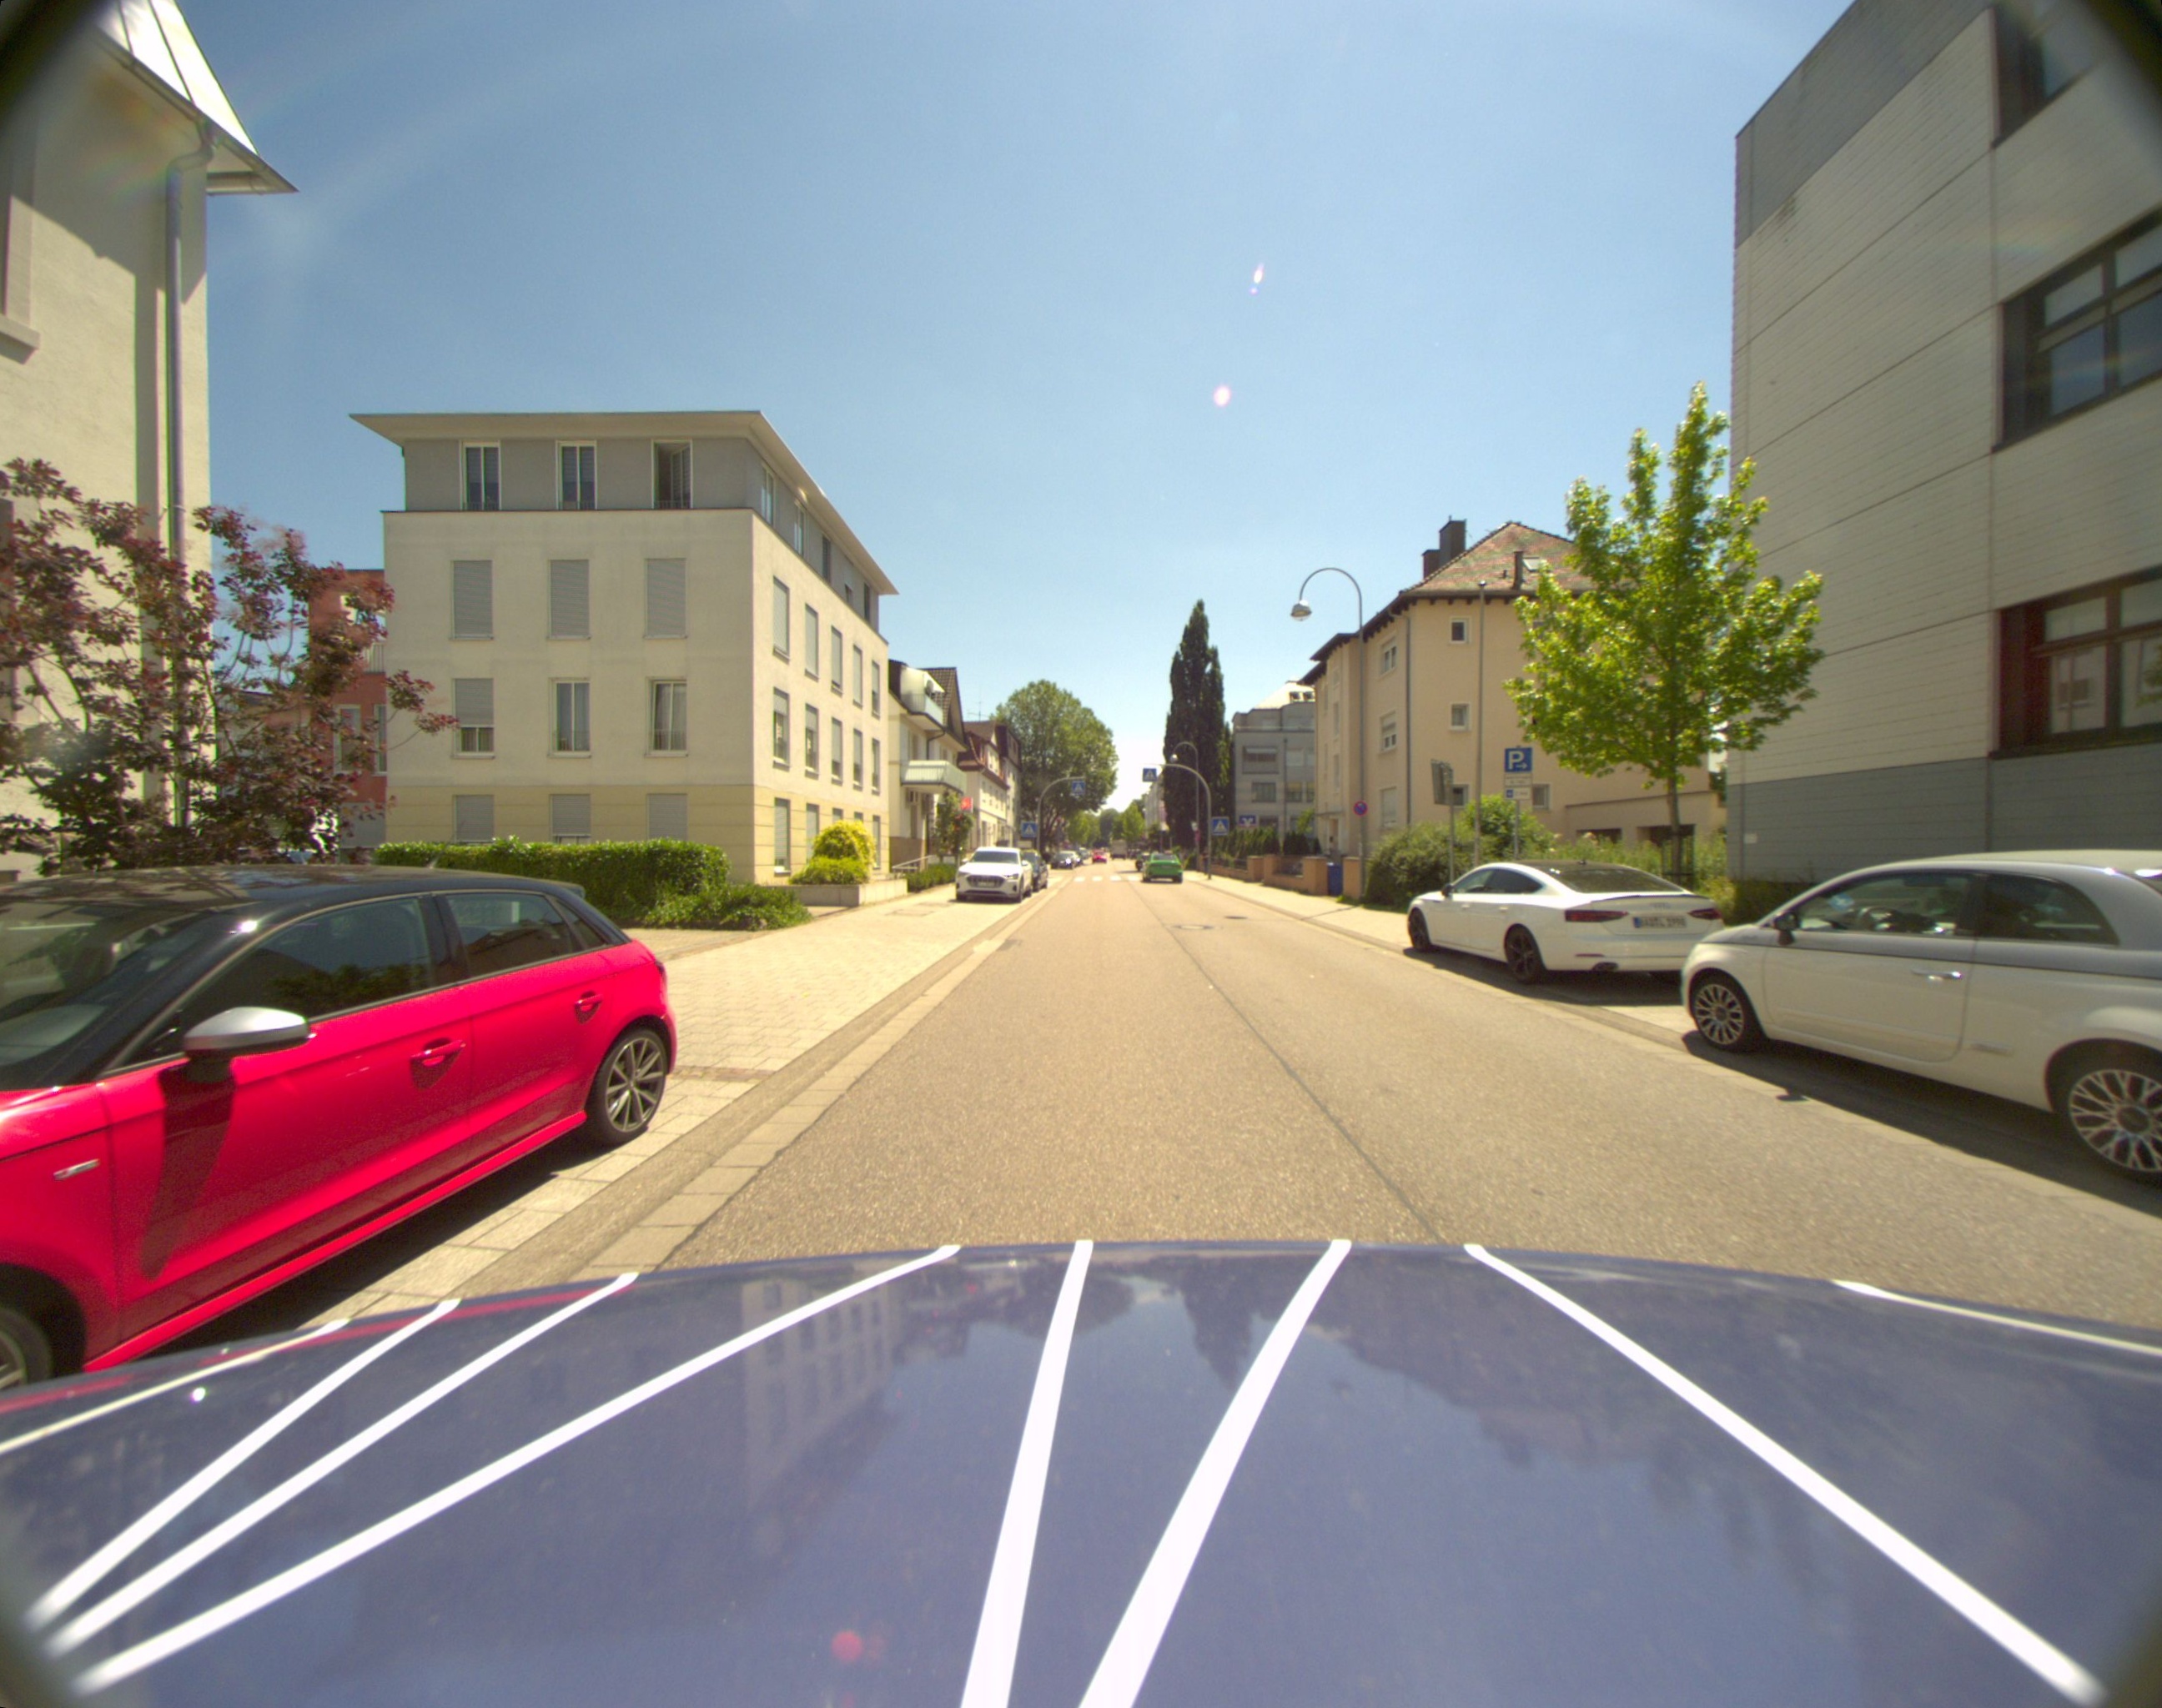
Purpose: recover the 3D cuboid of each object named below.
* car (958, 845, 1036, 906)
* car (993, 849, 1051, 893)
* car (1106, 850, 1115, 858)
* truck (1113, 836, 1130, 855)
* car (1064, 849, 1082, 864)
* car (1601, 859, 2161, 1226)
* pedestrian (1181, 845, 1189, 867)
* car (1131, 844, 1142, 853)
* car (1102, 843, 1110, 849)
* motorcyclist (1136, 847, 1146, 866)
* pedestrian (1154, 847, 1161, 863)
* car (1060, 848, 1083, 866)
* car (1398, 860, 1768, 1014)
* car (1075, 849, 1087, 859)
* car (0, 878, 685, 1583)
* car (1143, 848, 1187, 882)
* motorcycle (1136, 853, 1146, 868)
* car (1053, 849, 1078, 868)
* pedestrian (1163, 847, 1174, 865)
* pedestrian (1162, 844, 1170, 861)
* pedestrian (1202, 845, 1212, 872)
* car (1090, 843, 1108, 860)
[{"bbox_3d":[-2.536,0.582,23.900,1.709,1.656,4.580,2,1,2],"label":"car"},{"bbox_3d":[-2.237,0.609,30.130,1.709,1.547,4.748,2,1,2],"label":"car"},{"bbox_3d":[5.840,-0.031,151.929,1.834,1.502,4.262,-1,0,2],"label":"car"},{"bbox_3d":[6.366,-1.334,118.612,2.425,2.966,6.259,0,1,4],"label":"truck"},{"bbox_3d":[-0.739,0.212,74.515,1.561,1.333,4.173,1,1,1],"label":"car"},{"bbox_3d":[5.678,0.840,4.894,1.826,1.503,4.289,-1,1,2],"label":"car"},{"bbox_3d":[7.989,0.130,58.457,0.538,1.675,0.708,-1,1,2],"label":"pedestrian"},{"bbox_3d":[10.251,-0.985,140.944,1.731,1.661,4.294,-1,1,1],"label":"car"},{"bbox_3d":[6.254,-2.003,188.762,1.731,1.500,4.292,-1,3,0],"label":"car"},{"bbox_3d":[4.531,0.169,57.505,0.700,1.425,0.707,0,1,2],"label":"motorcyclist"},{"bbox_3d":[8.097,0.095,80.142,0.622,1.667,0.903,-3,1,1],"label":"pedestrian"},{"bbox_3d":[-0.832,0.256,68.367,1.748,1.460,4.851,2,1,2],"label":"car"},{"bbox_3d":[5.880,0.838,9.745,1.826,1.403,4.577,-1,1,2],"label":"car"},{"bbox_3d":[-0.019,-0.022,119.313,1.818,1.379,4.115,-1,0,1],"label":"car"},{"bbox_3d":[-3.193,0.903,2.465,1.607,1.432,3.853,3,1,3],"label":"car"},{"bbox_3d":[4.114,0.500,37.665,1.826,1.579,4.100,1,1,2],"label":"car"},{"bbox_3d":[4.538,0.510,57.436,0.700,1.101,1.790,0,1,2],"label":"motorcycle"},{"bbox_3d":[-1.240,0.340,63.664,1.831,1.418,4.700,1,1,2],"label":"car"},{"bbox_3d":[8.230,0.175,71.735,0.848,1.635,0.751,-3,2,0],"label":"pedestrian"},{"bbox_3d":[8.930,-0.149,80.057,0.750,1.760,0.951,-1,1,1],"label":"pedestrian"},{"bbox_3d":[7.800,0.286,47.109,0.538,1.675,0.708,-1,1,2],"label":"pedestrian"},{"bbox_3d":[2.163,-0.325,91.075,2.000,1.880,4.294,-2,1,1],"label":"car"}]
